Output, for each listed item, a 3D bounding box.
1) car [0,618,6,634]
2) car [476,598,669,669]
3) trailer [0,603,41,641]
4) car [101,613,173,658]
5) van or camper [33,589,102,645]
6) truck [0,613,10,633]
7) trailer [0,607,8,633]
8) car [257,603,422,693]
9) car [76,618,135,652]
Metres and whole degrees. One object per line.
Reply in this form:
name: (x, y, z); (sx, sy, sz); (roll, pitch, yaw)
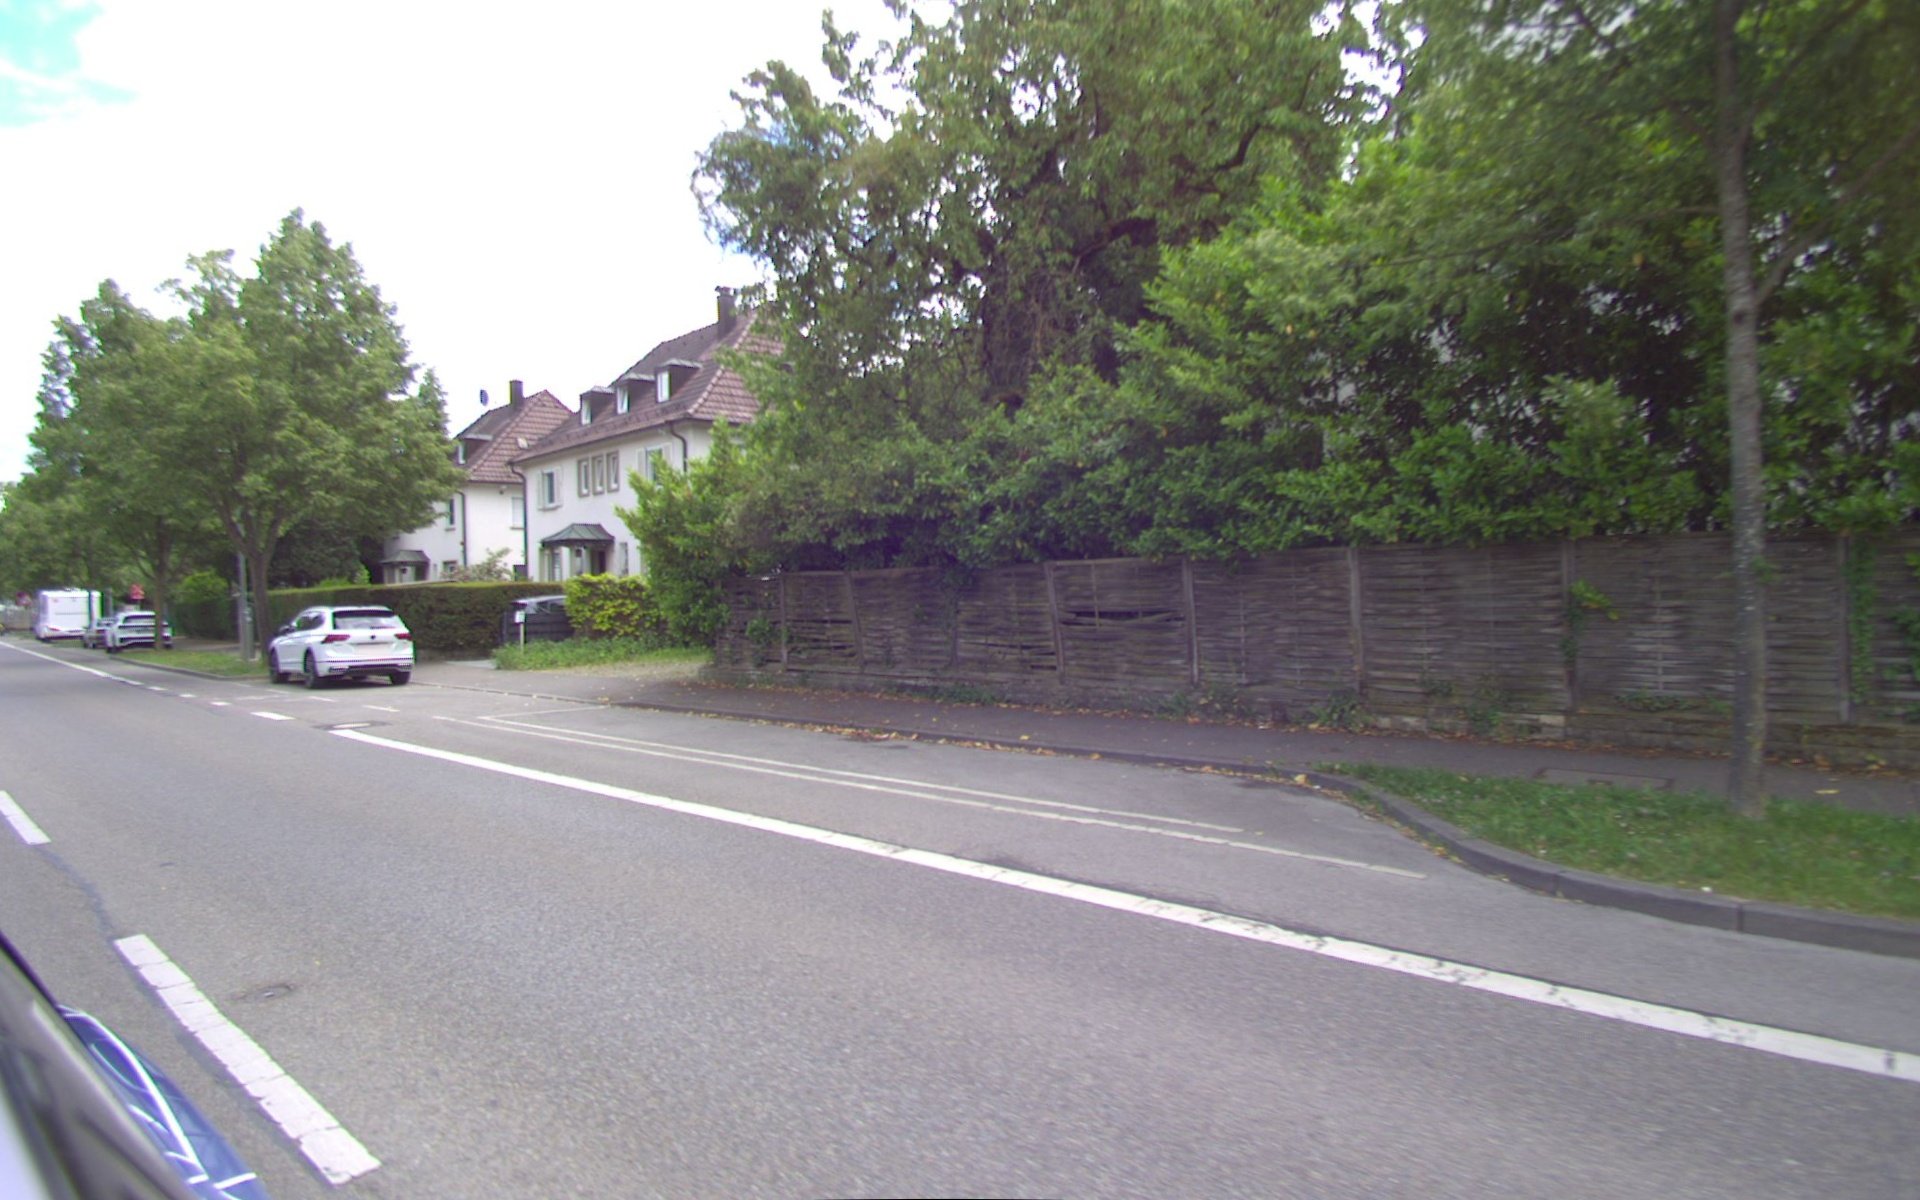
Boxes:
car: (-108.406, 2.947, 113.737); (1.669, 1.696, 4.228); (-2, 1, -45)
car: (-9.578, 0.778, 25.264); (1.765, 1.597, 4.151); (-1, -1, 43)
trailer: (-79.125, 1.757, 84.689); (7.476, 2.963, 2.645); (0, 1, 43)
car: (-33.114, 1.384, 40.659); (1.796, 1.664, 4.702); (-2, 0, -44)
van or camper: (-51.915, 0.959, 58.795); (7.695, 3.032, 2.408); (-1, 0, 44)
truck: (-117.565, 2.813, 123.345); (2.267, 2.304, 6.472); (-1, 0, -41)
trailer: (-113.096, 2.363, 118.313); (2.343, 2.985, 7.020); (-1, 0, -41)
car: (-13.477, 0.966, 21.834); (4.866, 1.701, 1.853); (-1, -1, 44)
car: (-40.321, 1.639, 47.721); (4.451, 1.481, 1.539); (-1, 0, 42)
